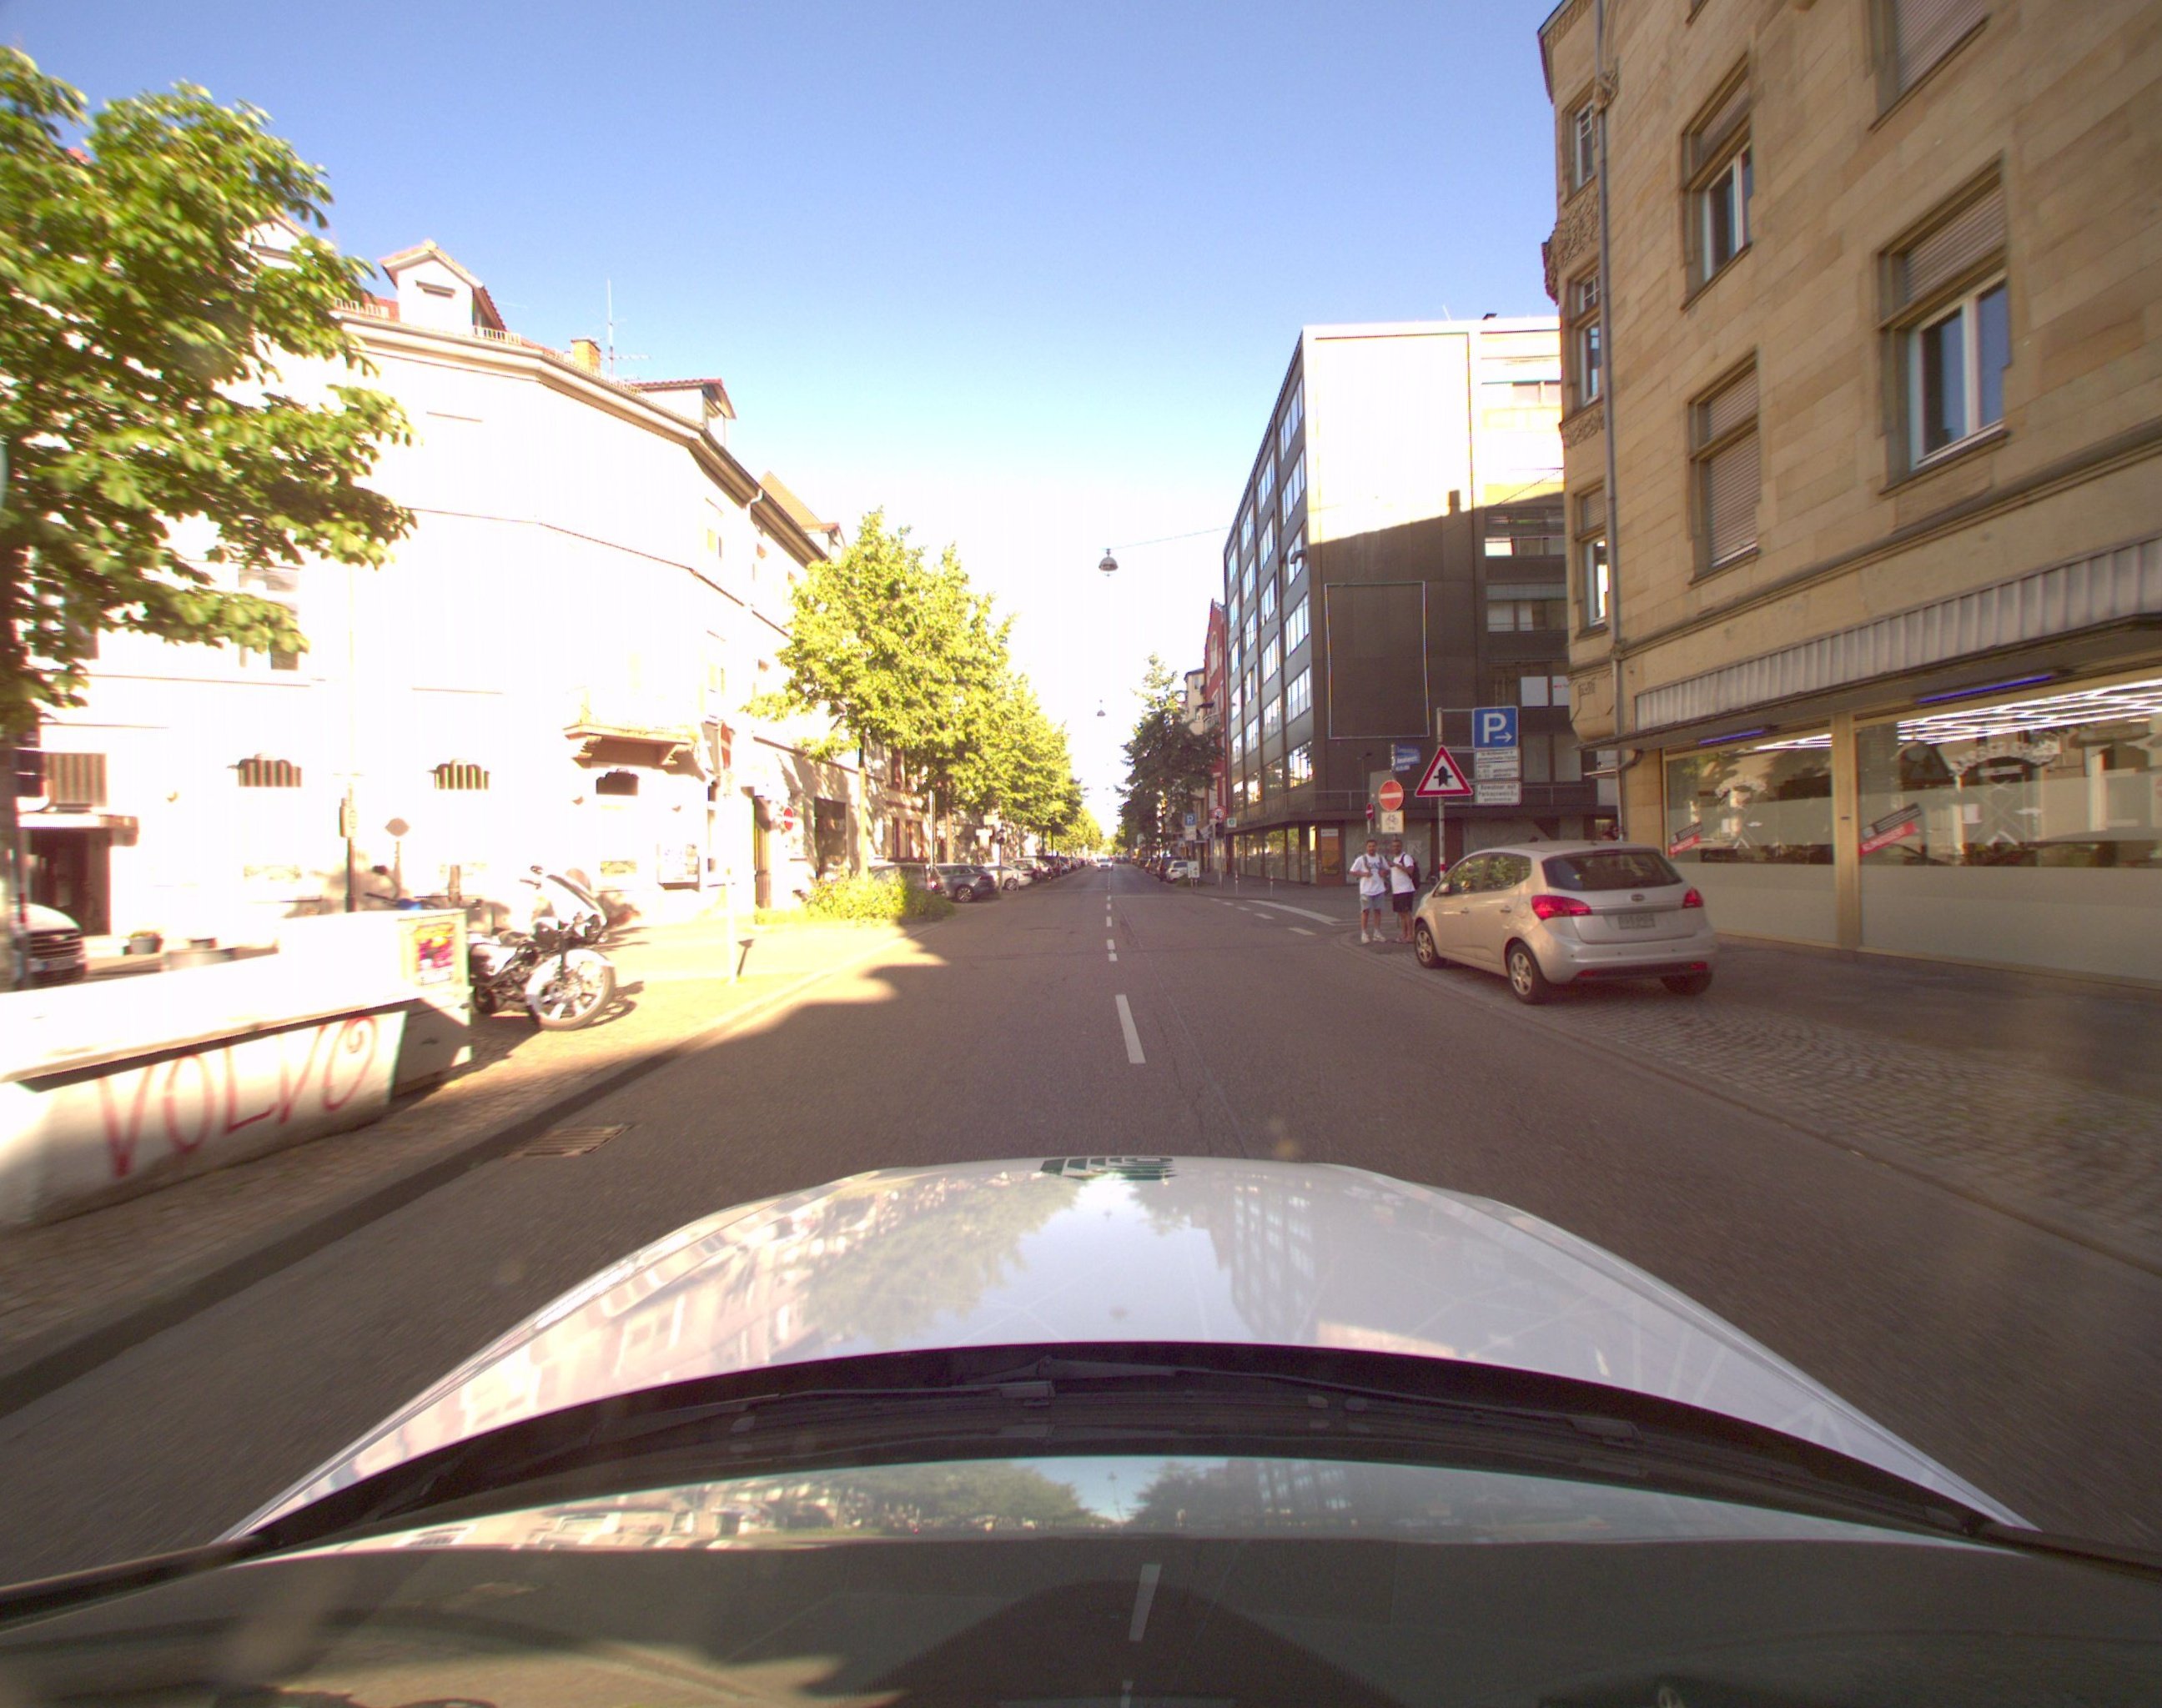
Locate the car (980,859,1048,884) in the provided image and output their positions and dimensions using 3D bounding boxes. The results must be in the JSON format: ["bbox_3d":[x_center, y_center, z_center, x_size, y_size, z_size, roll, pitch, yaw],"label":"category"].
[{"bbox_3d":[-4.159,1.096,51.174,3.971,1.508,2.001,0,-1,2],"label":"car"}]

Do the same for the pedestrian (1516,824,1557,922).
[{"bbox_3d":[8.910,0.362,15.959,0.640,1.871,0.630,-1,-2,24],"label":"pedestrian"}]

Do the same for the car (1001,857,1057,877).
[{"bbox_3d":[-3.924,0.970,61.862,3.971,1.508,2.001,0,-1,2],"label":"car"}]

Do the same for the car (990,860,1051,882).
[{"bbox_3d":[-4.113,1.178,55.943,3.971,1.508,2.001,0,-1,2],"label":"car"}]

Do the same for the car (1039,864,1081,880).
[{"bbox_3d":[-2.053,1.778,81.620,3.967,1.508,2.003,1,-1,5],"label":"car"}]

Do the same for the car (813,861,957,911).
[{"bbox_3d":[-6.082,0.991,25.648,3.971,1.508,2.001,0,-1,2],"label":"car"}]

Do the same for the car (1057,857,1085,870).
[{"bbox_3d":[-1.594,1.437,126.489,3.961,2.014,2.006,-1,-1,11],"label":"car"}]

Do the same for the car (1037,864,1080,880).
[{"bbox_3d":[-2.200,1.732,79.468,3.967,1.508,2.003,1,-1,5],"label":"car"}]

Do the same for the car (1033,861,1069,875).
[{"bbox_3d":[-3.504,1.595,95.109,3.967,1.508,2.003,1,-1,5],"label":"car"}]

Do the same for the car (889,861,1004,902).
[{"bbox_3d":[-5.075,1.020,31.087,3.971,1.508,2.001,0,-1,2],"label":"car"}]

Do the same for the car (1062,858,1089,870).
[{"bbox_3d":[-0.891,1.637,133.151,3.961,2.014,2.006,-1,-1,11],"label":"car"}]

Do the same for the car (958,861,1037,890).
[{"bbox_3d":[-4.462,1.142,43.858,3.971,1.508,2.001,0,-1,2],"label":"car"}]

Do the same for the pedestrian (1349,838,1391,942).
[{"bbox_3d":[4.933,0.603,13.953,0.609,1.735,0.636,0,-2,14],"label":"pedestrian"}]

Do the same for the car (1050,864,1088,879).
[{"bbox_3d":[-1.293,1.938,89.348,3.967,1.508,2.003,1,-1,5],"label":"car"}]

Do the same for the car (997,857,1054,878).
[{"bbox_3d":[-4.070,0.975,59.873,3.971,1.508,1.896,0,-1,2],"label":"car"}]

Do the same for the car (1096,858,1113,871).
[{"bbox_3d":[2.923,1.310,98.793,1.985,1.556,4.002,0,-1,3],"label":"car"}]

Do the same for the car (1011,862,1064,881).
[{"bbox_3d":[-3.416,1.400,64.548,3.972,1.508,2.001,0,-1,2],"label":"car"}]

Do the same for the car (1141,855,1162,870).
[{"bbox_3d":[7.202,0.888,83.358,1.986,1.453,4.001,-1,0,2],"label":"car"}]

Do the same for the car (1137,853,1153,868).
[{"bbox_3d":[8.701,0.888,110.861,1.986,2.014,4.001,-1,0,2],"label":"car"}]

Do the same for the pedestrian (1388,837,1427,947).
[{"bbox_3d":[5.412,0.623,13.516,0.508,1.780,0.614,0,-2,14],"label":"pedestrian"}]

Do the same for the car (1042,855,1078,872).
[{"bbox_3d":[-2.533,1.146,98.182,3.961,2.014,2.006,-1,-1,11],"label":"car"}]

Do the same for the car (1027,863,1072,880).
[{"bbox_3d":[-2.918,1.659,76.051,3.967,1.508,2.003,1,-1,5],"label":"car"}]

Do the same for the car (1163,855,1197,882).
[{"bbox_3d":[6.148,0.900,51.017,1.984,1.618,4.015,0,-1,4],"label":"car"}]

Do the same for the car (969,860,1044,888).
[{"bbox_3d":[-4.195,1.118,46.138,3.971,1.508,2.001,0,-1,2],"label":"car"}]

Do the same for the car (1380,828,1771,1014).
[{"bbox_3d":[5.353,0.649,9.781,1.892,1.675,4.826,0,-1,2],"label":"car"}]

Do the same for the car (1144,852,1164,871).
[{"bbox_3d":[8.360,0.867,93.951,1.986,2.013,4.001,-2,0,2],"label":"car"}]

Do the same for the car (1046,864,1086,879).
[{"bbox_3d":[-1.531,1.871,86.123,3.967,1.508,2.003,1,-1,5],"label":"car"}]

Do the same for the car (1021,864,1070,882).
[{"bbox_3d":[-3.018,1.604,69.536,3.972,1.508,2.001,0,-1,2],"label":"car"}]

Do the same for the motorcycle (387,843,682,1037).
[{"bbox_3d":[-5.099,0.748,7.612,2.451,1.604,1.005,-2,-1,20],"label":"motorcycle"}]

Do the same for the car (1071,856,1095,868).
[{"bbox_3d":[0.410,1.445,146.326,3.961,2.014,2.006,-1,-1,11],"label":"car"}]

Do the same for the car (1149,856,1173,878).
[{"bbox_3d":[7.367,1.202,75.065,1.986,2.014,4.001,0,-1,2],"label":"car"}]

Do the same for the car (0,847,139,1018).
[{"bbox_3d":[-14.243,0.825,8.500,5.289,1.800,2.146,1,-1,-25],"label":"car"}]

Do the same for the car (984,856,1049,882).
[{"bbox_3d":[-4.225,1.008,53.665,3.971,1.674,2.090,0,-1,2],"label":"car"}]
